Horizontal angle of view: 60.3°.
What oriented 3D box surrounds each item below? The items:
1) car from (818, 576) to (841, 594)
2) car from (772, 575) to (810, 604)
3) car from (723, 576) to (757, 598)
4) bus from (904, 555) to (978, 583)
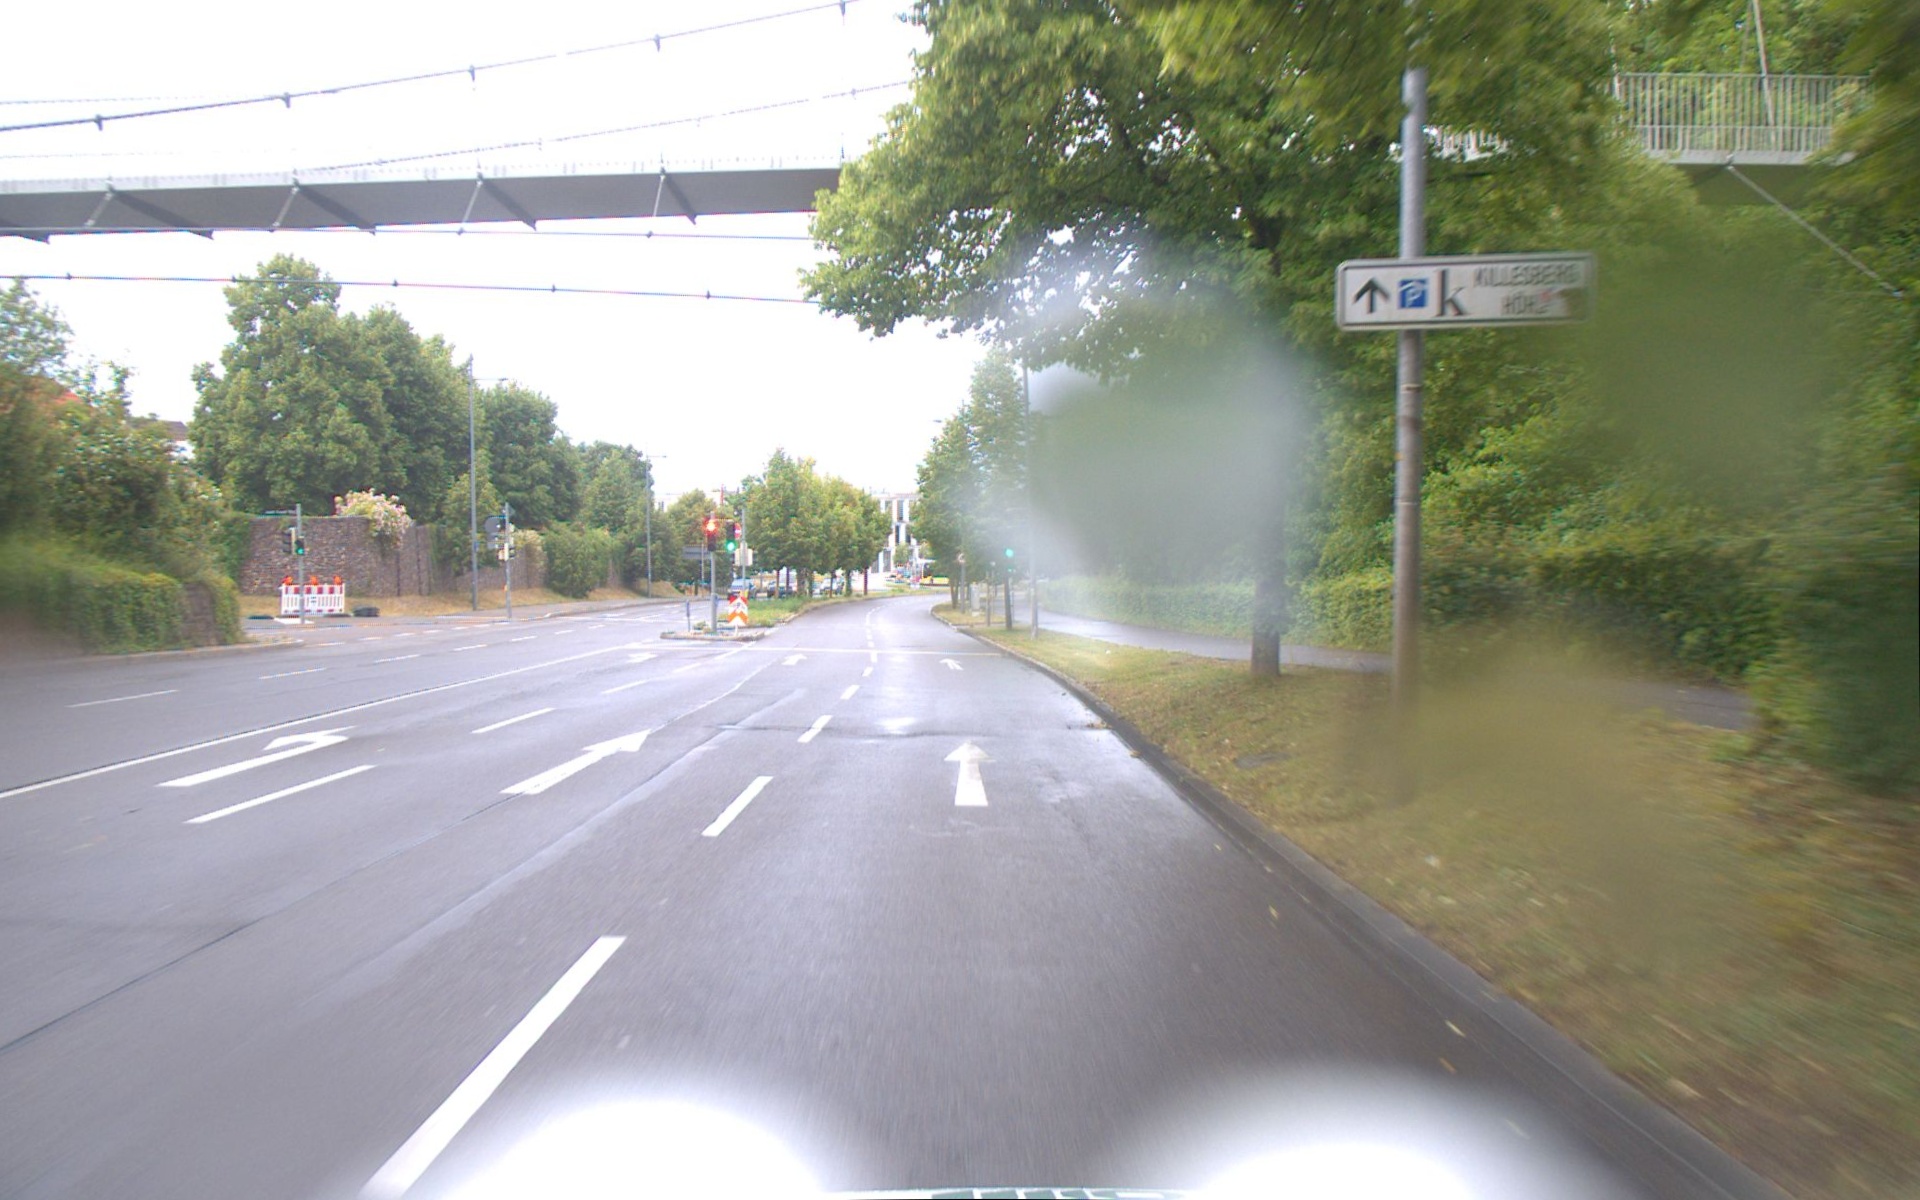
[{"bbox_3d":[-12.163,-1.377,153.884,1.651,1.566,2.918,1,2,5],"label":"car"},{"bbox_3d":[-12.026,-0.756,118.010,1.971,1.952,5.097,1,1,2],"label":"car"},{"bbox_3d":[-15.550,-0.902,117.090,1.564,1.515,4.002,1,1,4],"label":"car"},{"bbox_3d":[-2.385,-4.155,226.480,2.729,3.416,18.216,0,0,24],"label":"bus"}]
